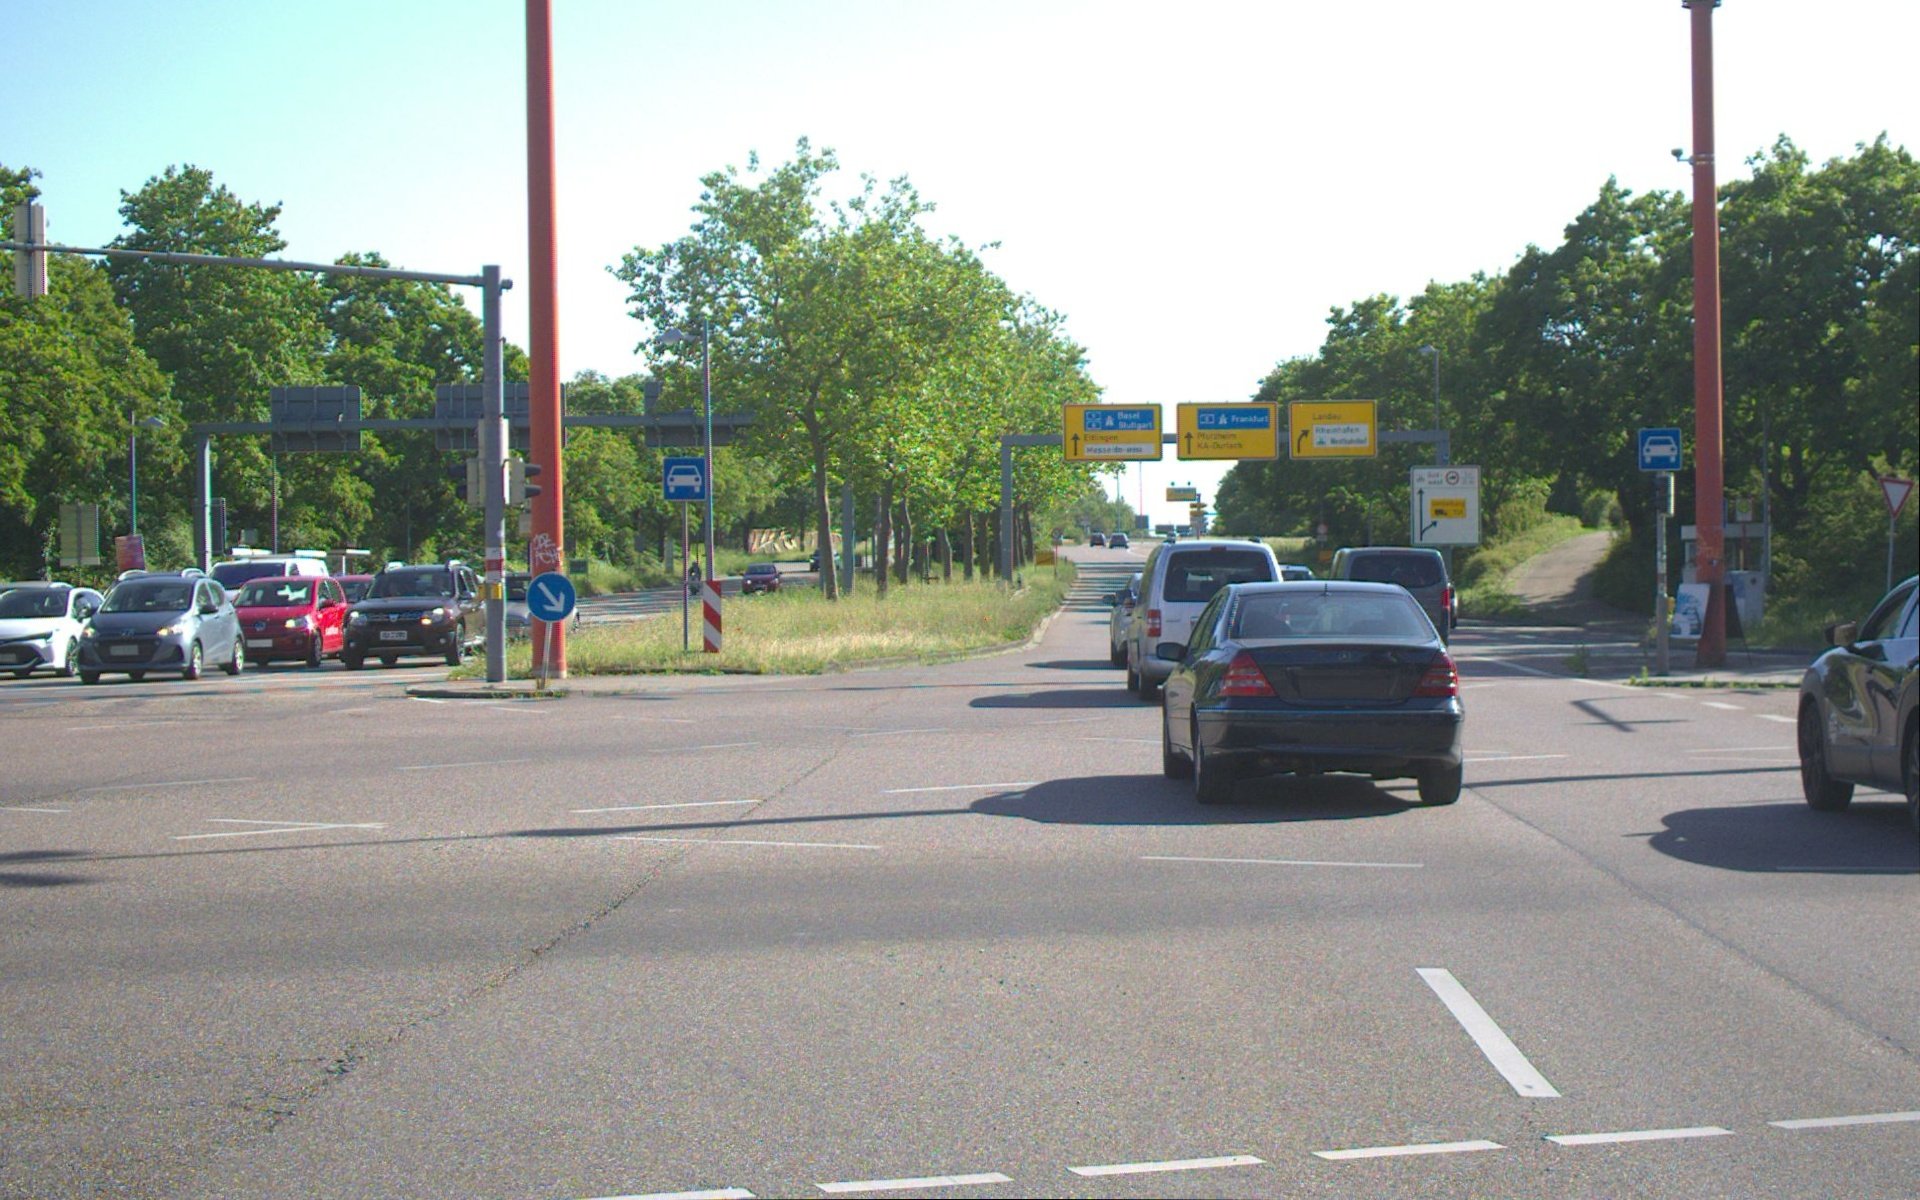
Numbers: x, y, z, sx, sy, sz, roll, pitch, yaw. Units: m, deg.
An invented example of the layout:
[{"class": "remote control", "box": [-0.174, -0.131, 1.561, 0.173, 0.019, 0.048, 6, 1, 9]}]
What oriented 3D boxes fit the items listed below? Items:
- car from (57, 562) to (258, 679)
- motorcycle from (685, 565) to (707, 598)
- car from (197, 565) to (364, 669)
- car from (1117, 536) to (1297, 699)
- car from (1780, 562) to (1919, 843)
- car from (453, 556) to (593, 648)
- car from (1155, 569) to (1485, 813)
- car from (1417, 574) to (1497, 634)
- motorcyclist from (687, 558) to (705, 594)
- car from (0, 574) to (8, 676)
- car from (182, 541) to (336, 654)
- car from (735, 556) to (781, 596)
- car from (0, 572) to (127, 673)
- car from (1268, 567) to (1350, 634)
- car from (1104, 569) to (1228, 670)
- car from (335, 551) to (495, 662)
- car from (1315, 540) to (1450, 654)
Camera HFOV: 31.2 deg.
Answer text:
[{"class": "car", "box": [-11.659, 0.269, 50.184, 1.874, 1.545, 4.027, -2, 1, 1]}, {"class": "motorcycle", "box": [-12.960, -0.912, 168.764, 0.759, 1.604, 2.867, 1, 0, 2]}, {"class": "car", "box": [-11.125, 0.255, 56.509, 1.875, 1.547, 4.000, -3, 0, 0]}, {"class": "car", "box": [2.866, 0.186, 40.670, 1.804, 1.815, 4.587, 0, 0, 0]}, {"class": "car", "box": [6.087, 0.557, 19.916, 1.768, 1.503, 4.225, 1, 0, 2]}, {"class": "car", "box": [-7.798, 0.009, 61.633, 1.885, 1.538, 4.000, -2, 1, 1]}, {"class": "car", "box": [2.313, 0.535, 23.047, 1.713, 1.449, 4.198, -1, 1, -1]}, {"class": "car", "box": [12.919, 0.096, 89.526, 1.595, 1.486, 3.681, 1, 0, 1]}, {"class": "motorcyclist", "box": [-12.953, -1.176, 168.763, 0.772, 1.732, 0.916, 1, 0, 2]}, {"class": "car", "box": [-15.099, 0.411, 49.124, 1.801, 1.510, 3.859, -2, 0, 2]}, {"class": "car", "box": [-13.973, -0.074, 68.799, 1.961, 2.147, 5.081, -1, 1, 1]}, {"class": "car", "box": [-9.443, -1.134, 160.236, 1.915, 1.840, 3.962, -1, 1, -6]}, {"class": "car", "box": [-14.828, 0.348, 55.269, 1.901, 1.549, 4.000, -1, 0, 0]}, {"class": "car", "box": [8.714, 0.011, 86.053, 1.716, 1.602, 3.847, 1, 0, 1]}, {"class": "car", "box": [3.165, 0.283, 53.580, 1.804, 1.488, 4.682, 1, 0, 2]}, {"class": "car", "box": [-8.537, 0.073, 54.172, 1.793, 1.620, 4.143, -2, 1, 0]}, {"class": "car", "box": [7.154, -0.079, 58.635, 1.804, 1.845, 5.103, -1, 1, 2]}]
